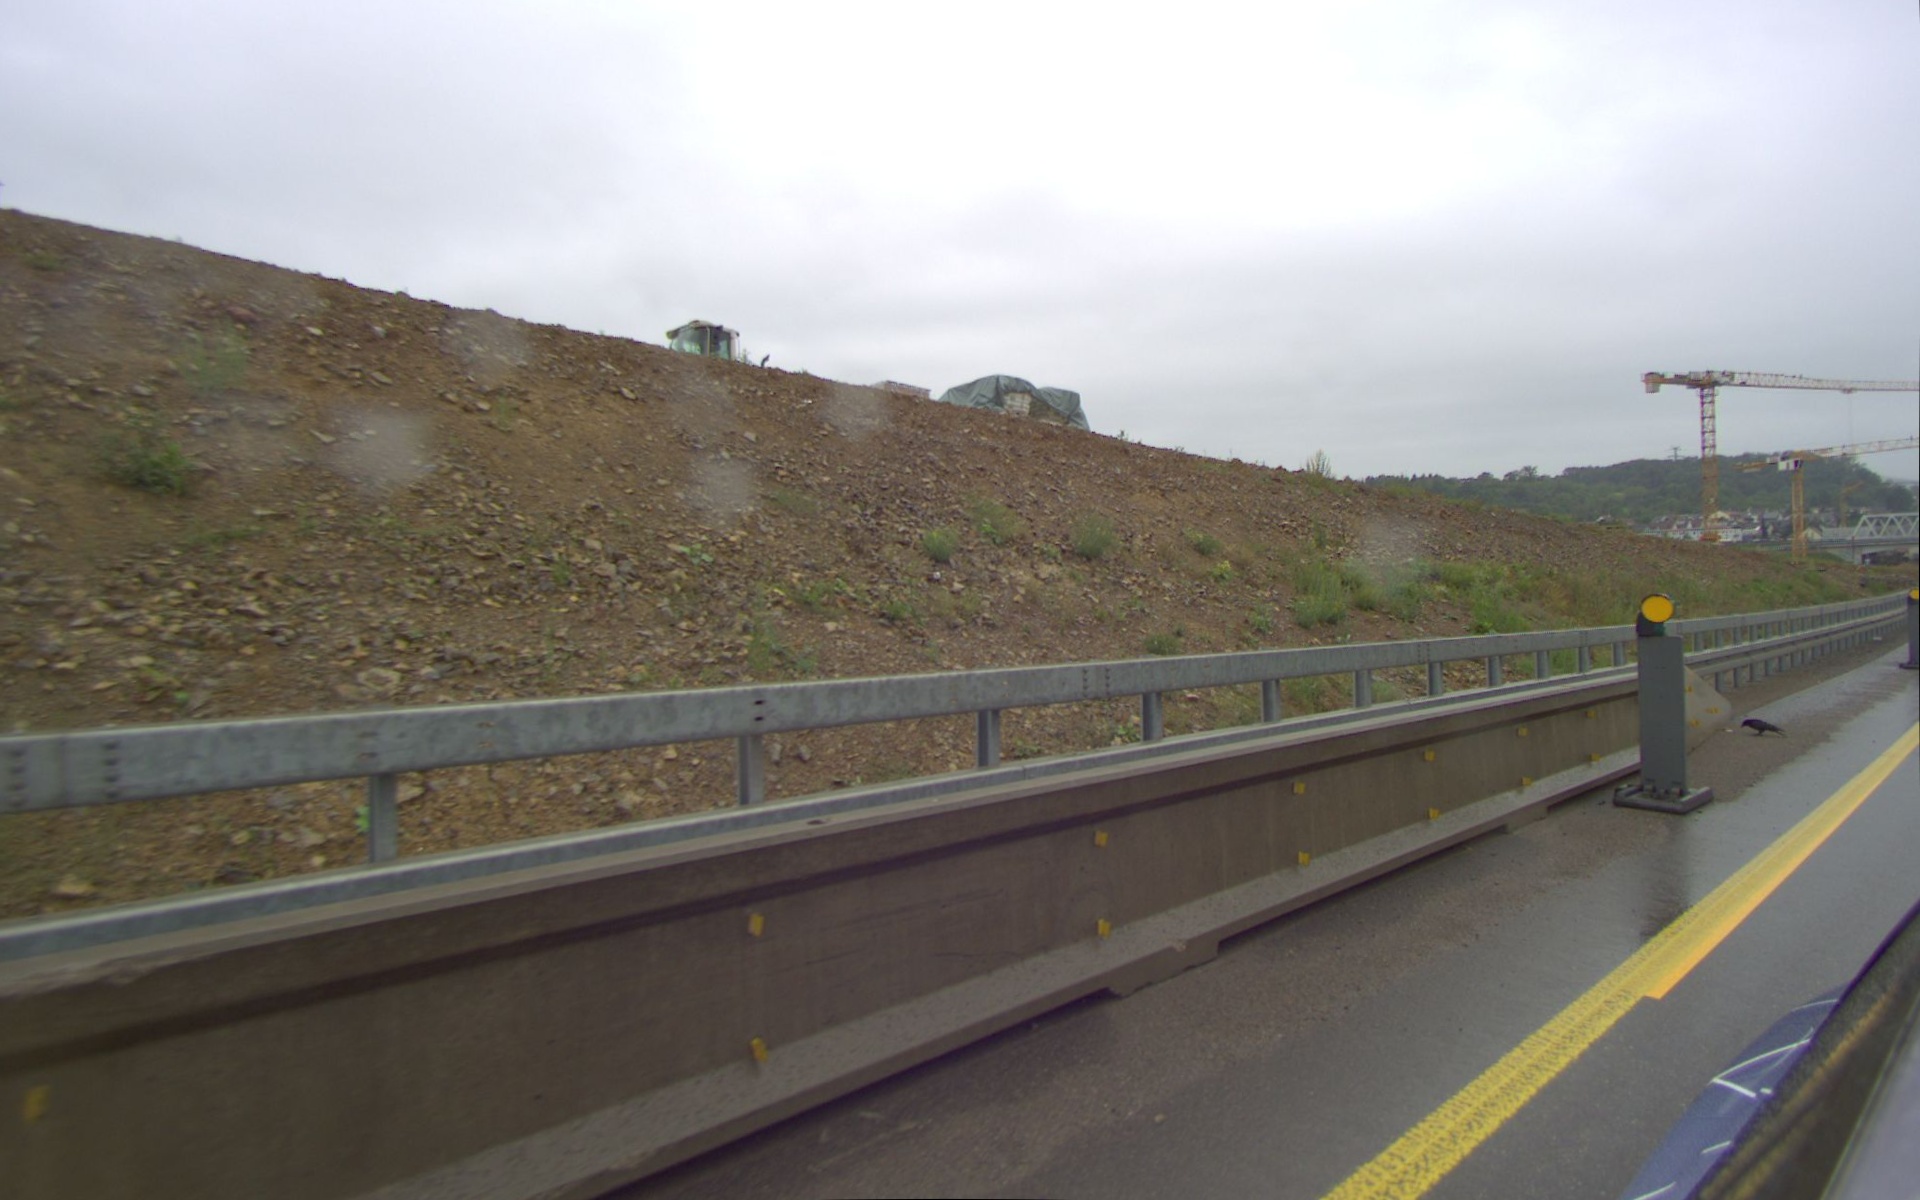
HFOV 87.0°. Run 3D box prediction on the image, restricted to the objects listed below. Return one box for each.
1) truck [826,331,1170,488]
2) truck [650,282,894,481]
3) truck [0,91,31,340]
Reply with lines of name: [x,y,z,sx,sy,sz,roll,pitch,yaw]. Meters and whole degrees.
truck: [1.236,-4.581,26.069,8.802,2.910,3.403,-3,3,-39]
truck: [-4.815,-5.475,26.642,5.879,4.270,2.377,-3,3,-42]
truck: [-15.214,-4.913,11.399,6.867,2.586,2.649,-3,3,-42]
